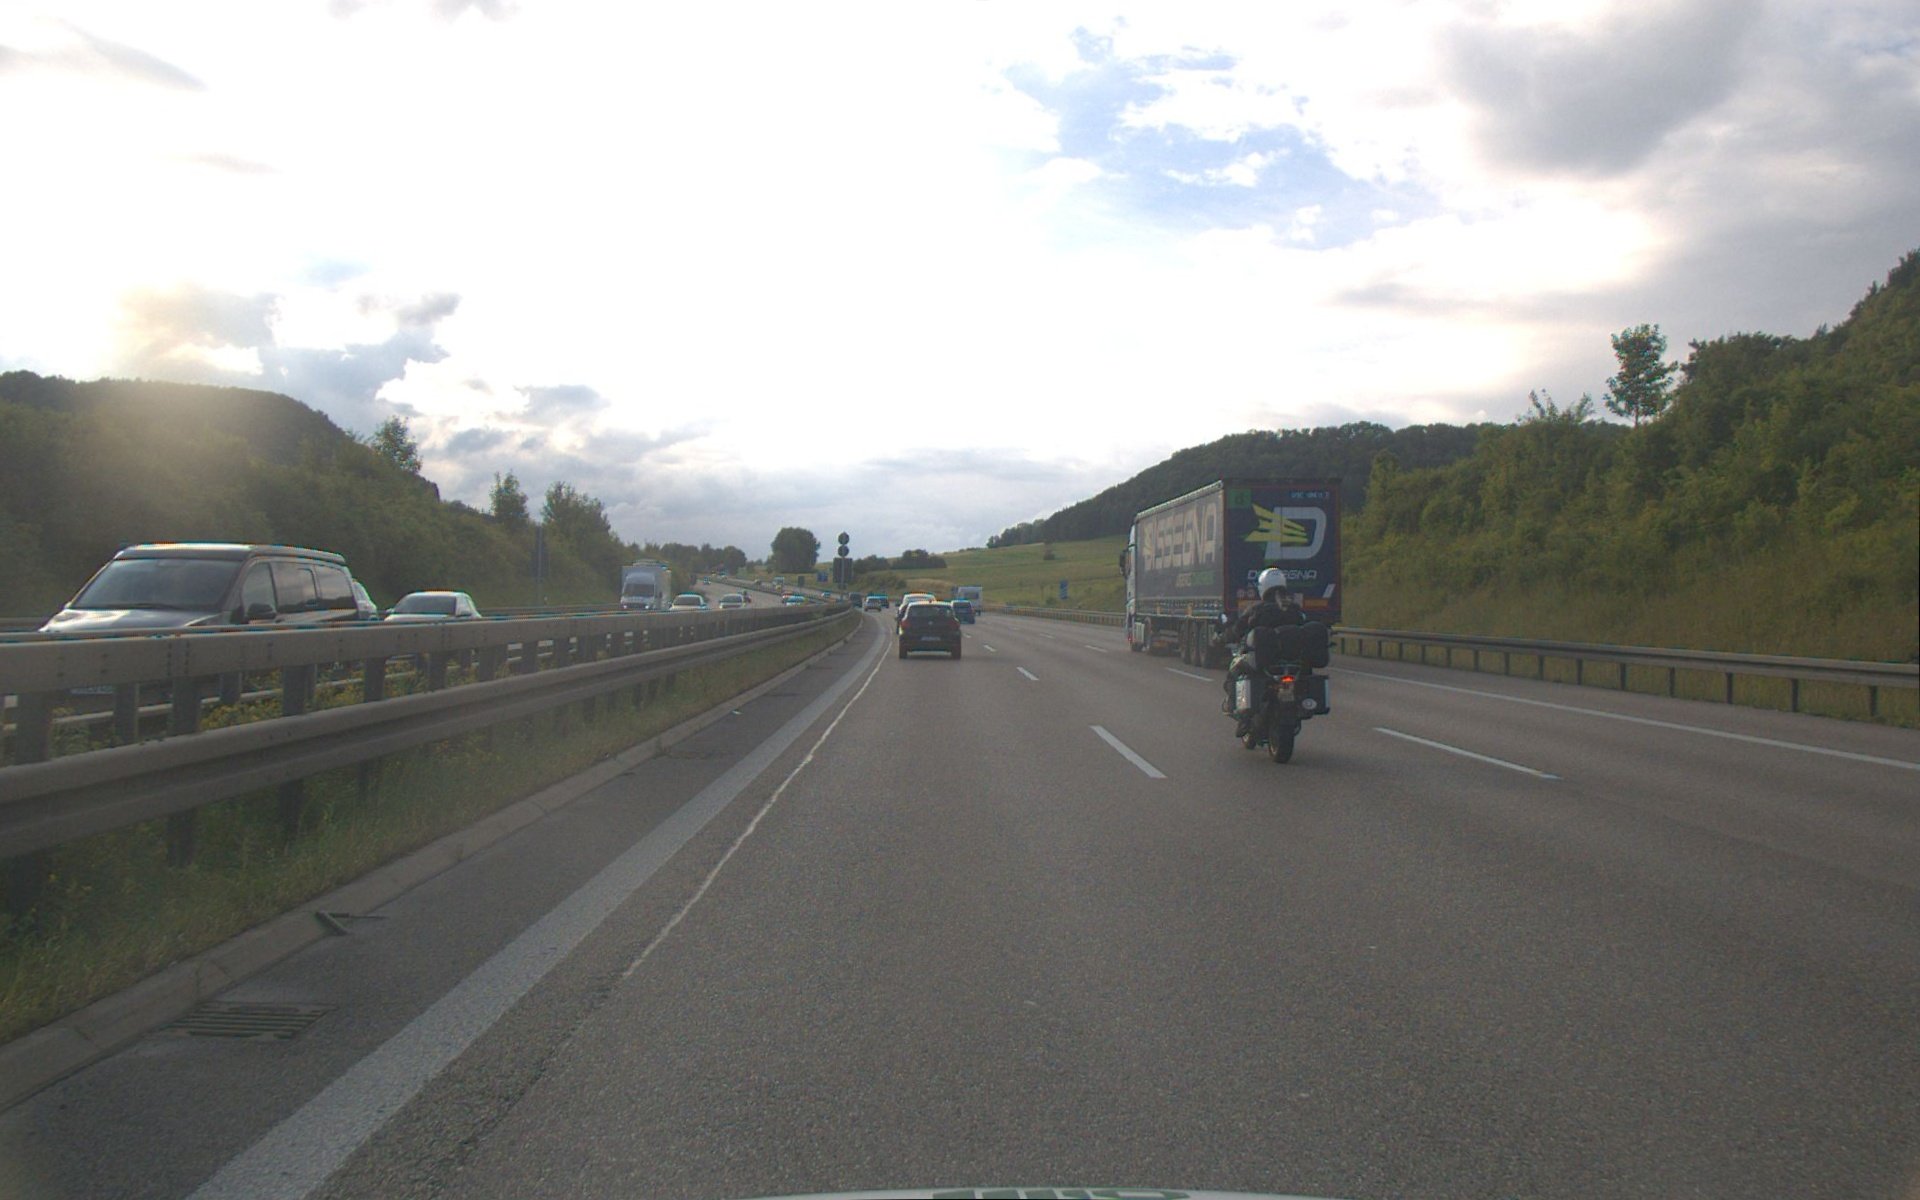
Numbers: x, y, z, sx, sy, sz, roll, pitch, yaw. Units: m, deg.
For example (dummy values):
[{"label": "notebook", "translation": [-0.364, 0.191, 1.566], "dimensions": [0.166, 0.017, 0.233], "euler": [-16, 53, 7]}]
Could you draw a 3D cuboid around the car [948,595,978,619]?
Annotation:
[{"label": "car", "translation": [0.165, 0.453, 105.032], "dimensions": [1.731, 1.458, 3.998], "euler": [1, 0, -3]}]

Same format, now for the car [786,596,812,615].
[{"label": "car", "translation": [-12.734, 0.415, 130.700], "dimensions": [1.744, 1.434, 3.761], "euler": [1, 0, -1]}]

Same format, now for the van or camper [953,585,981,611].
[{"label": "van or camper", "translation": [0.652, -0.174, 151.969], "dimensions": [2.496, 2.278, 5.328], "euler": [0, 0, -1]}]

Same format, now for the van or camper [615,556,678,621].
[{"label": "van or camper", "translation": [-18.127, -0.634, 96.118], "dimensions": [2.432, 3.614, 7.973], "euler": [1, 0, -2]}]

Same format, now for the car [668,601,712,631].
[{"label": "car", "translation": [-13.333, 0.770, 81.960], "dimensions": [1.610, 1.461, 4.343], "euler": [1, 0, -2]}]

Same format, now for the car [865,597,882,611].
[{"label": "car", "translation": [-9.434, 0.416, 180.727], "dimensions": [1.732, 1.458, 3.997], "euler": [1, 0, -4]}]

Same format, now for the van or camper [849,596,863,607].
[{"label": "van or camper", "translation": [-13.880, 0.212, 220.695], "dimensions": [1.927, 1.458, 3.997], "euler": [1, 0, -4]}]

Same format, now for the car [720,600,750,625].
[{"label": "car", "translation": [-15.375, 0.853, 113.059], "dimensions": [1.610, 1.685, 4.343], "euler": [1, 0, -2]}]

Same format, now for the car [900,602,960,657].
[{"label": "car", "translation": [-0.778, 0.755, 43.992], "dimensions": [1.507, 1.371, 3.676], "euler": [0, 0, -1]}]

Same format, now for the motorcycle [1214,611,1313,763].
[{"label": "motorcycle", "translation": [2.885, 0.795, 15.879], "dimensions": [0.614, 1.362, 1.739], "euler": [1, 0, 0]}]

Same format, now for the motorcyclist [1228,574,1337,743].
[{"label": "motorcyclist", "translation": [3.031, 0.543, 15.621], "dimensions": [0.859, 1.541, 0.797], "euler": [1, 0, 0]}]

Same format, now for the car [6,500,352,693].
[{"label": "car", "translation": [-8.643, -0.039, 18.789], "dimensions": [1.890, 1.925, 4.344], "euler": [0, 0, -1]}]

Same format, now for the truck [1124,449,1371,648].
[{"label": "truck", "translation": [6.769, -1.064, 42.761], "dimensions": [2.904, 4.062, 17.727], "euler": [0, 0, -1]}]

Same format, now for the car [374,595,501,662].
[{"label": "car", "translation": [-12.028, 0.628, 38.346], "dimensions": [1.610, 1.461, 4.344], "euler": [0, 0, -1]}]

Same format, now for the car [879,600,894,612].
[{"label": "car", "translation": [-9.861, 0.838, 223.208], "dimensions": [1.918, 1.601, 3.999], "euler": [1, 0, -2]}]
